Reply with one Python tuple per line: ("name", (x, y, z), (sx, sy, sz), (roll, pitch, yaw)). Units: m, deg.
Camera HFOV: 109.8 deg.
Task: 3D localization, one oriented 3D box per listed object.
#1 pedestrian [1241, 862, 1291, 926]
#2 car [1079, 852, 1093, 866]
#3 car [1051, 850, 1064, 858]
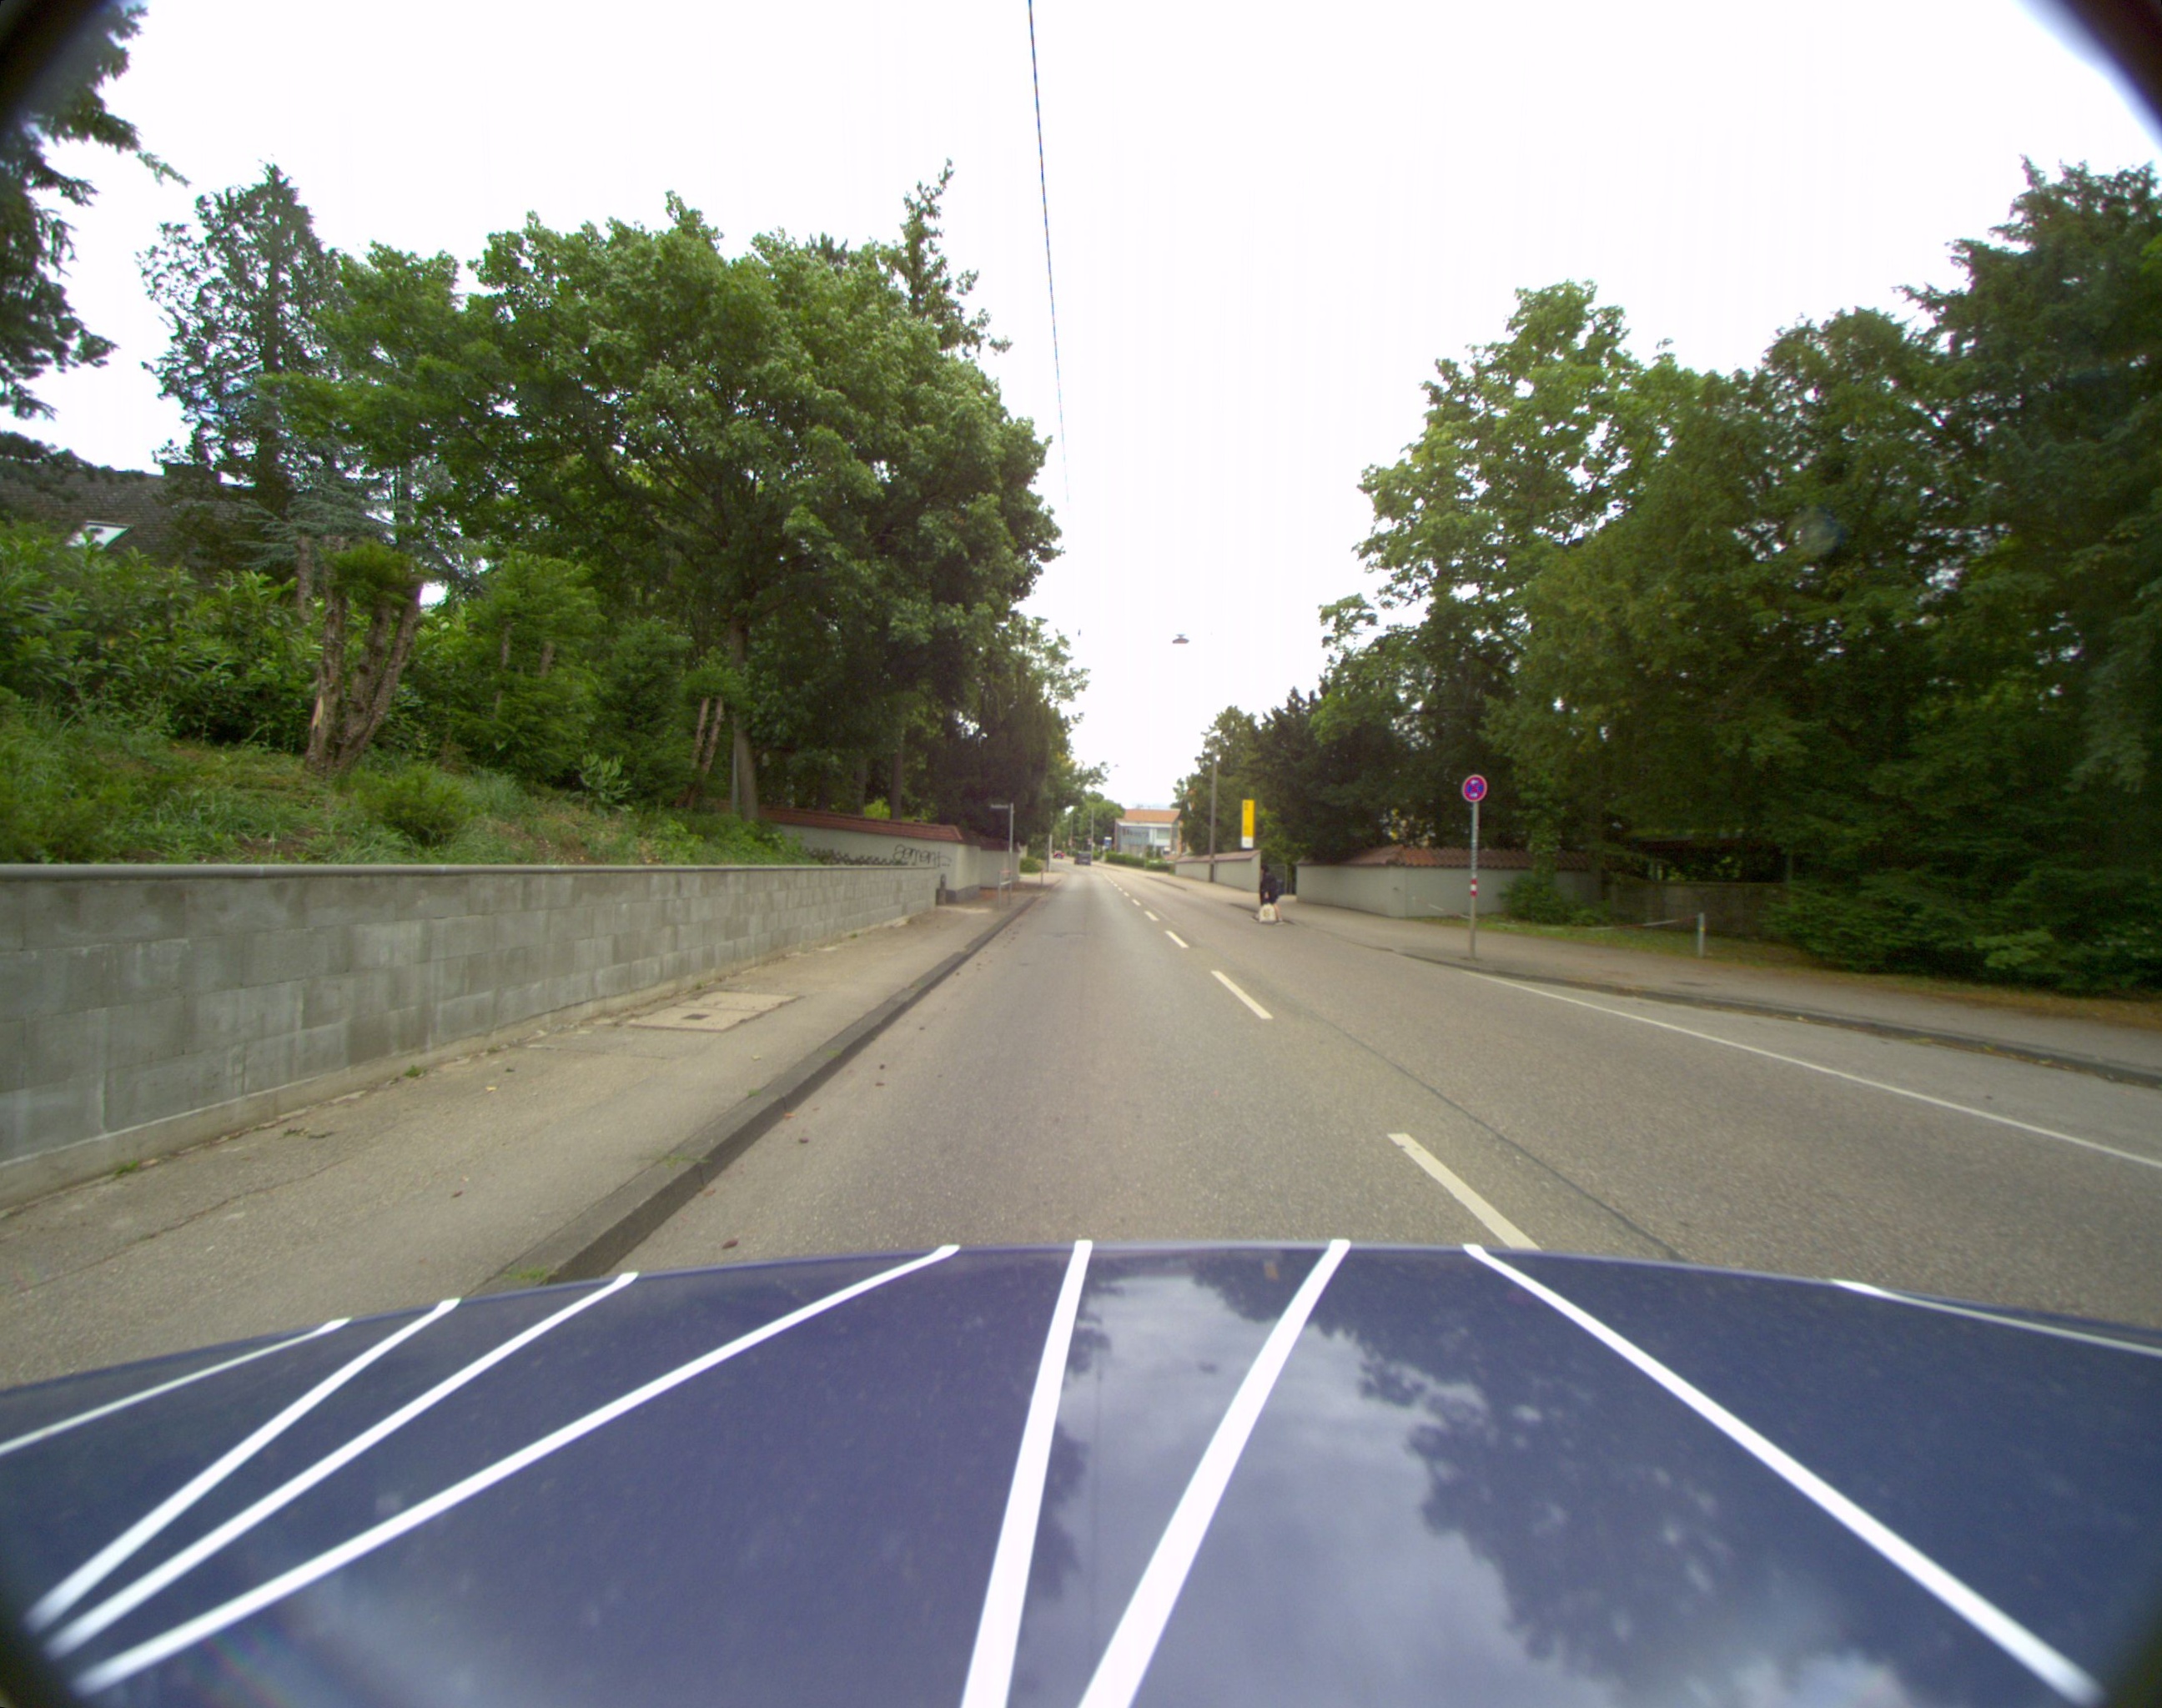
("pedestrian", (4.696, 0.990, 19.274), (0.900, 1.551, 0.931), (3, 1, 35))
("car", (0.692, 0.678, 106.541), (1.895, 1.845, 5.082), (1, 0, 0))
("car", (-4.453, 0.071, 144.032), (1.792, 1.420, 3.995), (2, 0, -13))
